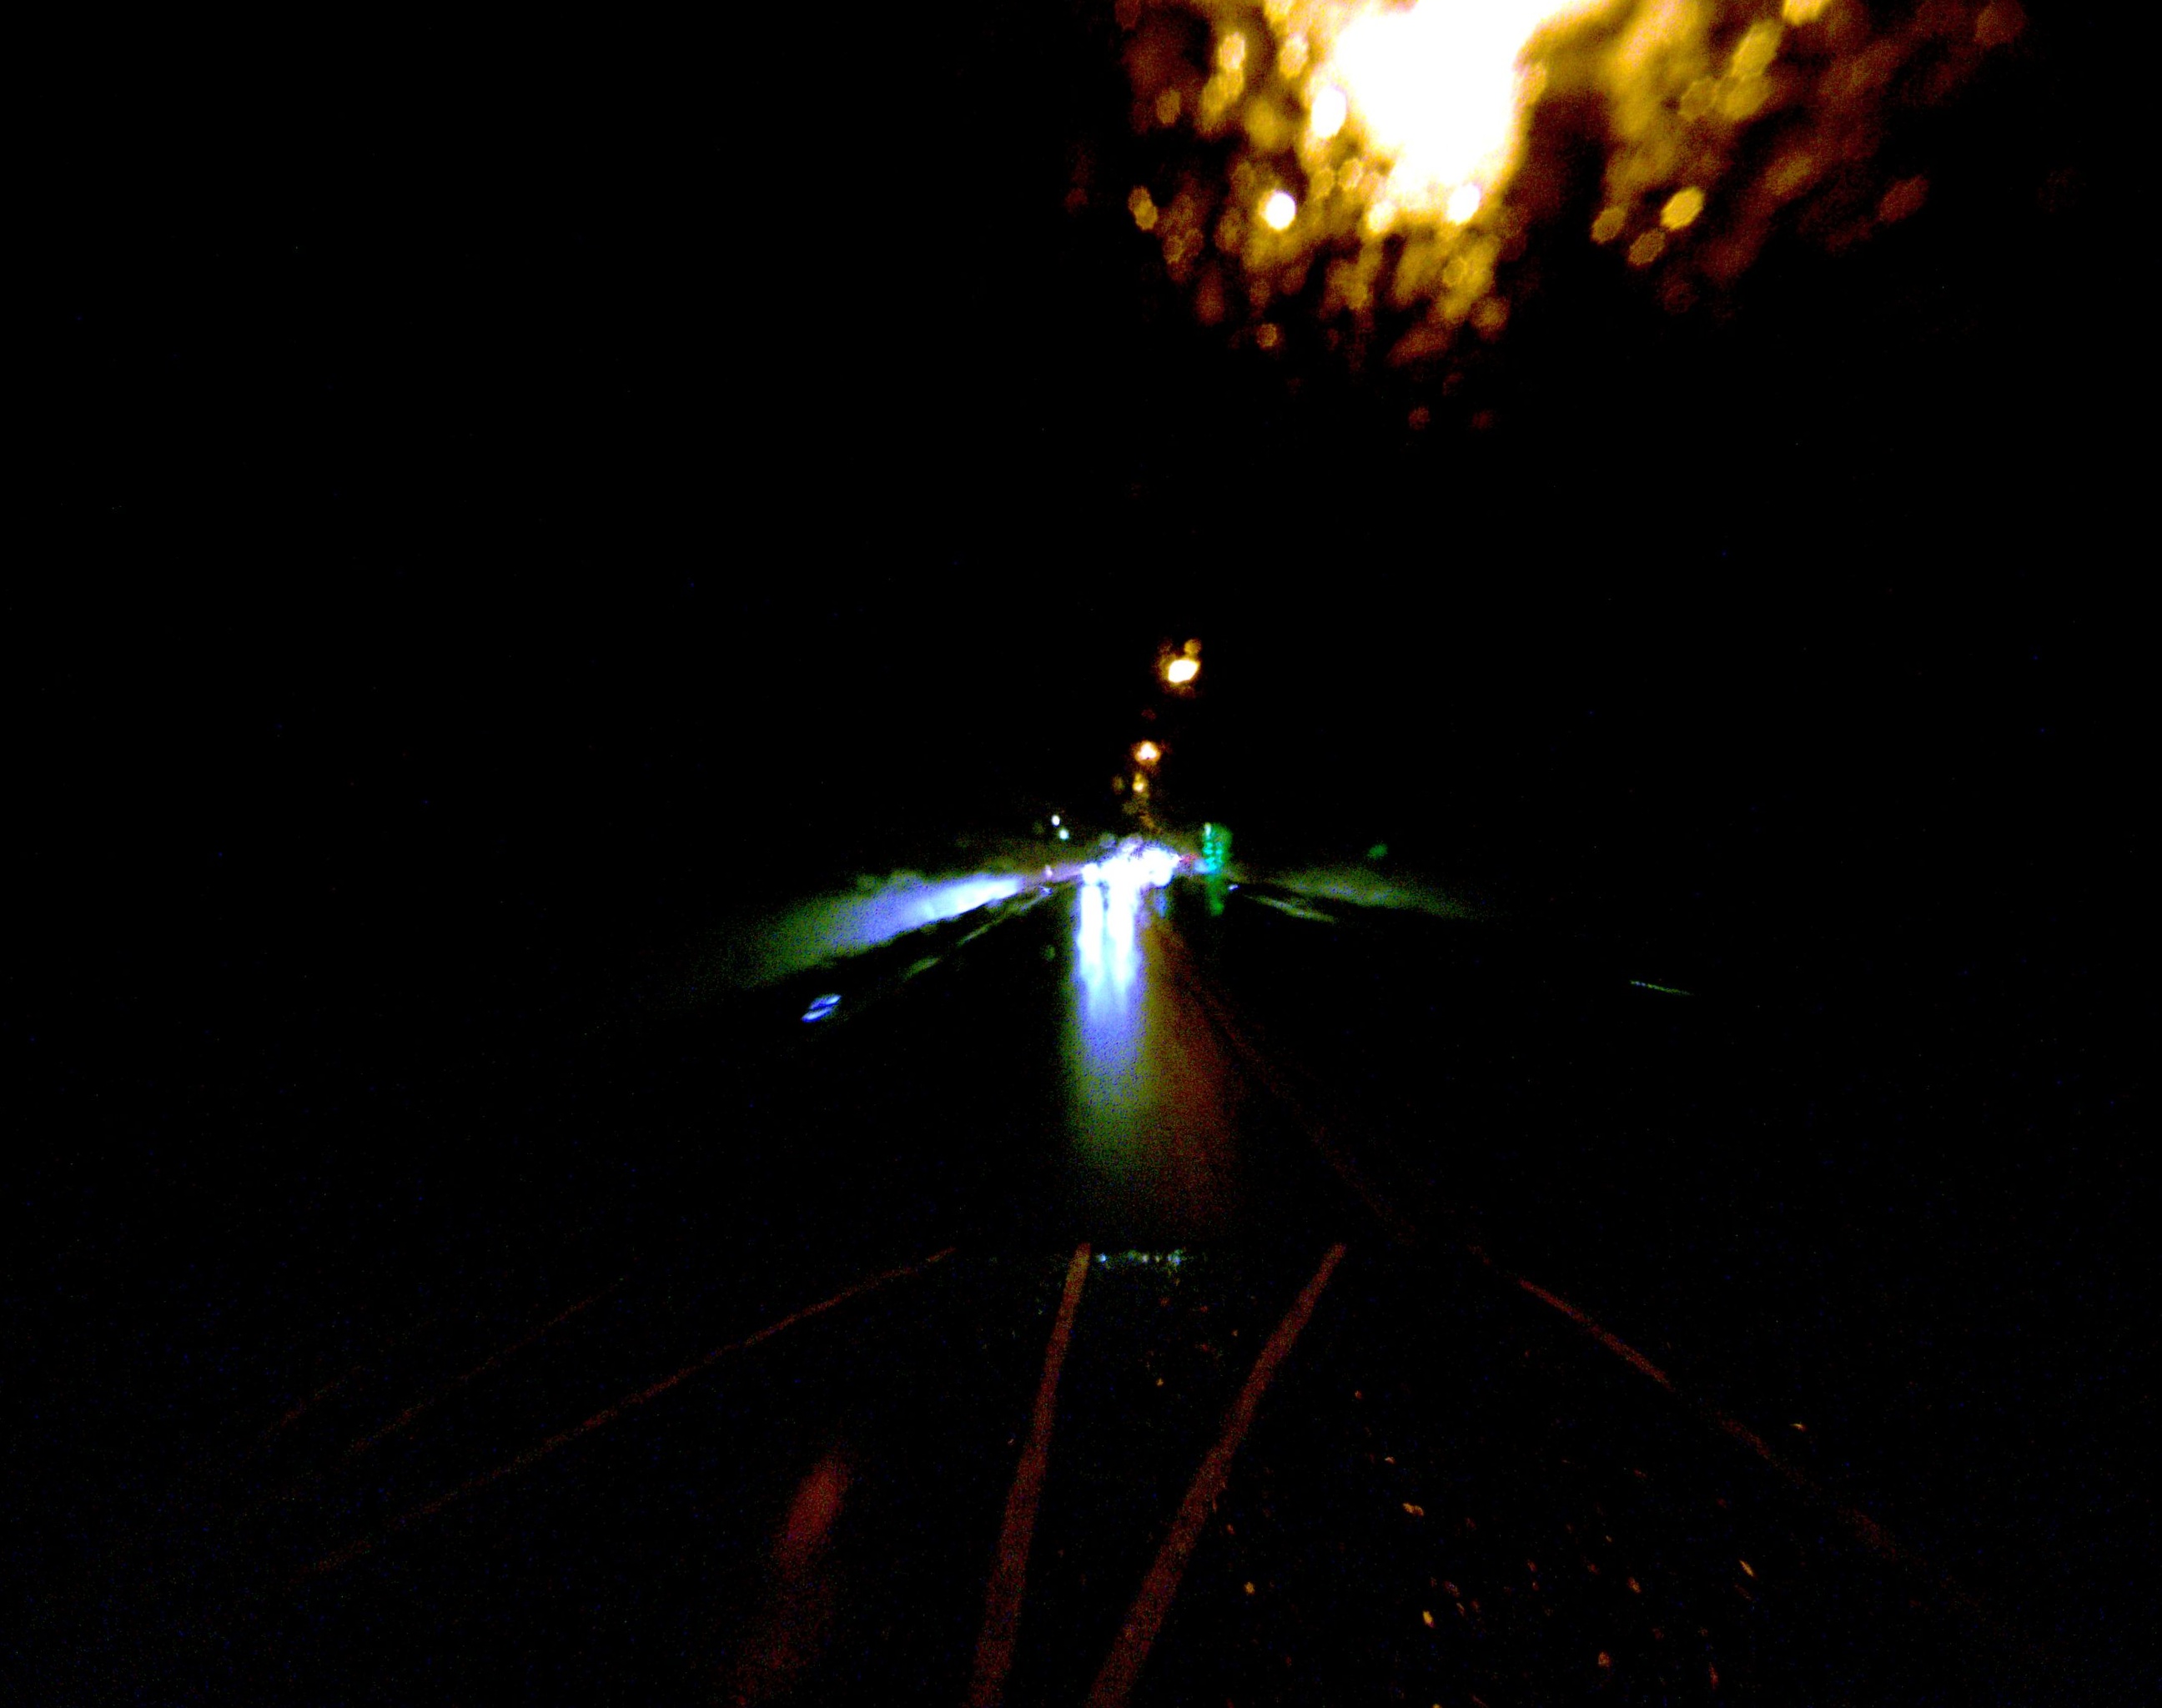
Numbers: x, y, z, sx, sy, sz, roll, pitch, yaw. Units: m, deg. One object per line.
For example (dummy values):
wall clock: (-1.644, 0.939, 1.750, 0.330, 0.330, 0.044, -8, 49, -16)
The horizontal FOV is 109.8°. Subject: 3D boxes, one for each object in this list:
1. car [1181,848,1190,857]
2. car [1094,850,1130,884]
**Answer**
car: (19.647, -0.241, 142.669, 1.634, 1.640, 3.777, -1, 0, 7)
car: (1.694, 0.649, 40.932, 1.730, 1.595, 4.000, -3, 1, 3)
